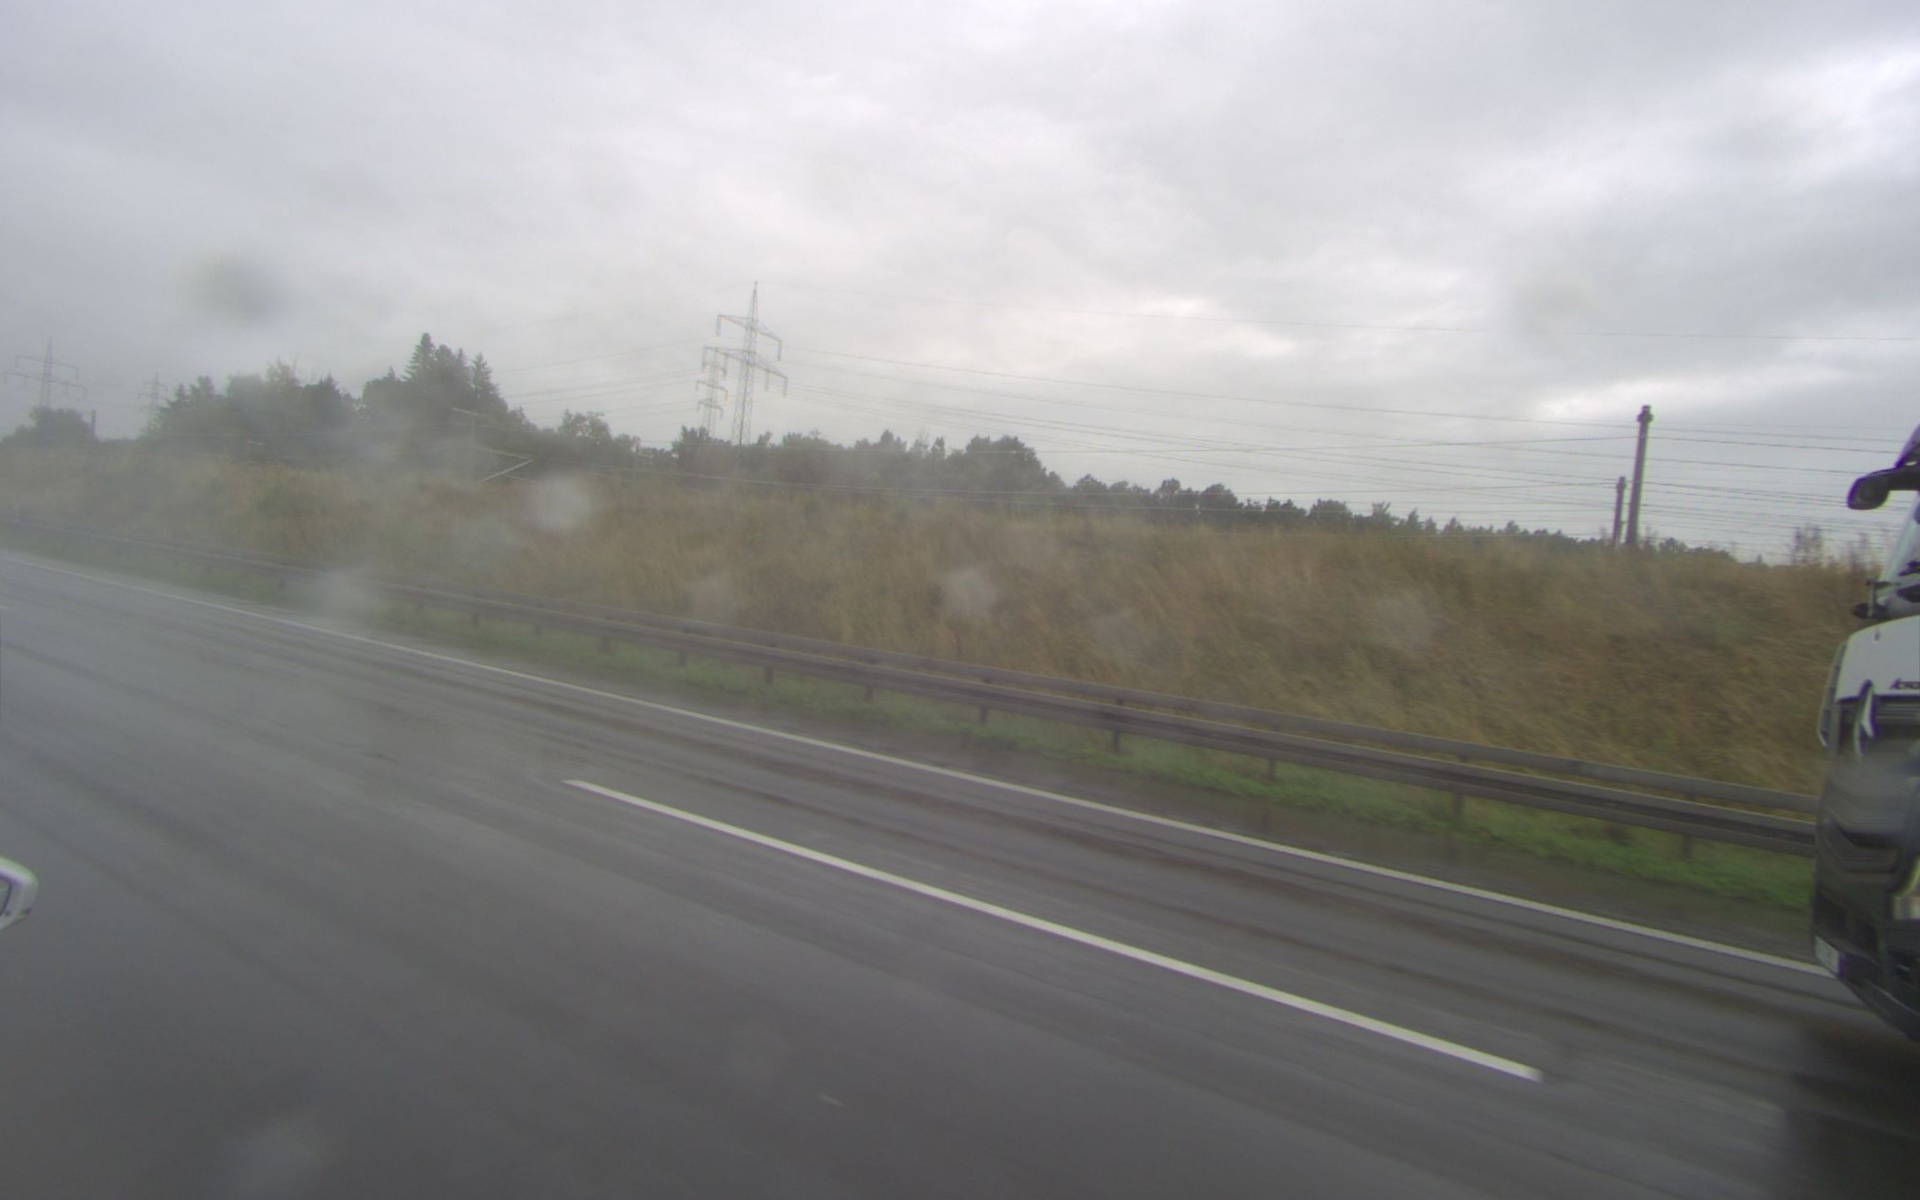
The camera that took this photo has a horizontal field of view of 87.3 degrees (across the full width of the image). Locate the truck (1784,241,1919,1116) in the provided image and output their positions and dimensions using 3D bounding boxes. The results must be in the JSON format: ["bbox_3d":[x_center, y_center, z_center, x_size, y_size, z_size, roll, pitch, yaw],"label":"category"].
[{"bbox_3d":[7.100,0.436,3.347,6.096,3.935,2.456,7,-1,32],"label":"truck"}]
